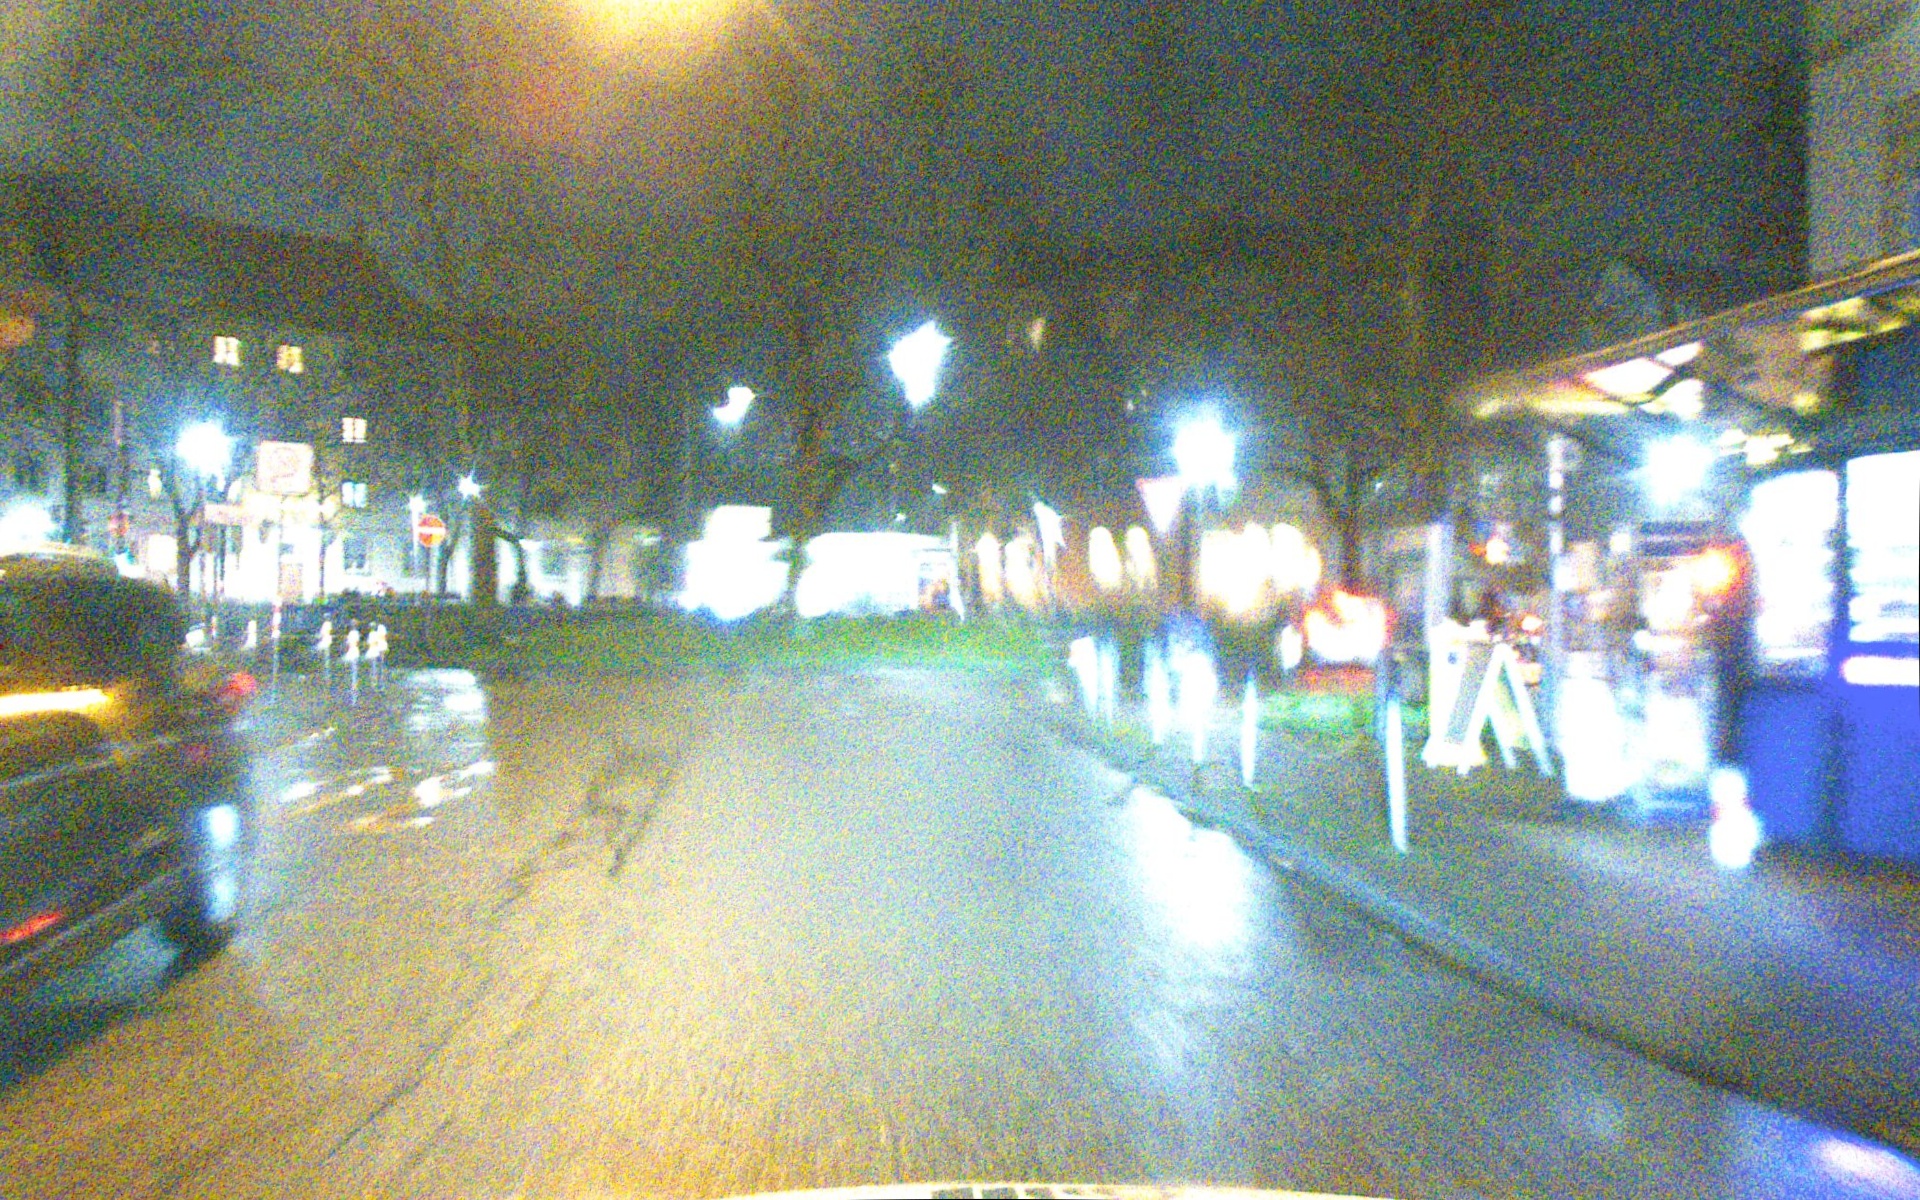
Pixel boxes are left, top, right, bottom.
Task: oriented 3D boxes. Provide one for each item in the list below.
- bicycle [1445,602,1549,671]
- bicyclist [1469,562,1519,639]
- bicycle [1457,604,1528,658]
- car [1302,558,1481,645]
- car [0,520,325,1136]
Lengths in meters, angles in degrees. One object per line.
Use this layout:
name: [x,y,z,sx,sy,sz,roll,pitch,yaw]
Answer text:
bicycle: [8.783,0.583,27.099,0.446,1.078,1.640,-1,1,-39]
bicyclist: [12.001,0.014,37.185,0.701,1.704,0.787,2,0,-42]
bicycle: [11.978,0.700,37.185,1.701,1.169,0.765,2,0,-42]
car: [8.837,0.039,33.840,3.420,1.641,1.716,2,0,-34]
car: [-3.634,0.623,5.262,1.884,1.646,4.568,-2,1,-7]
